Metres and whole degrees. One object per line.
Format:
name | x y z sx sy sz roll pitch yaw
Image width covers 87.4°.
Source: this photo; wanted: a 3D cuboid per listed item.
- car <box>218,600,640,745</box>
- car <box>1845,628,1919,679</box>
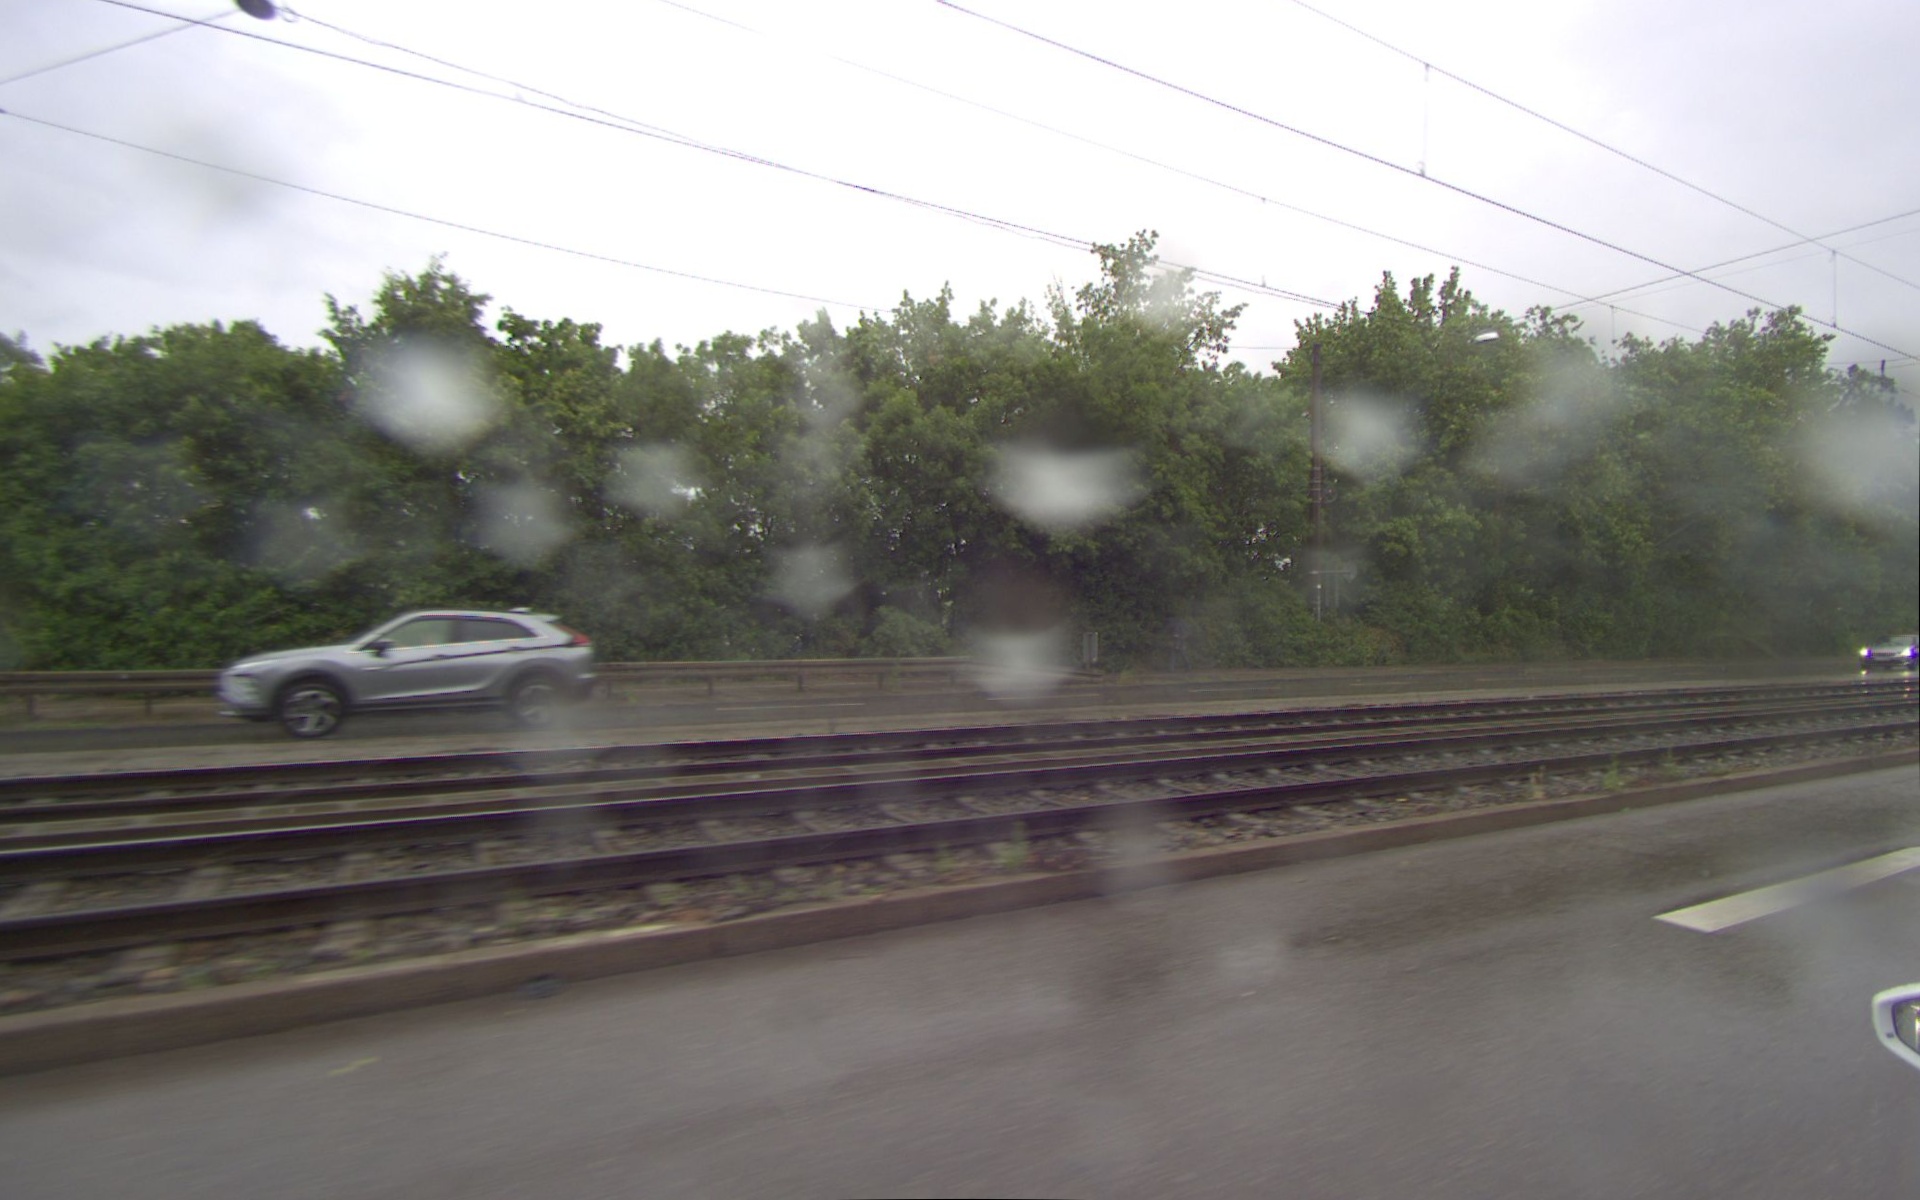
car | -7.116 0.886 13.864 4.817 1.695 1.983 1 -1 -31
car | 38.892 2.181 41.732 3.954 1.807 1.983 1 4 -31
